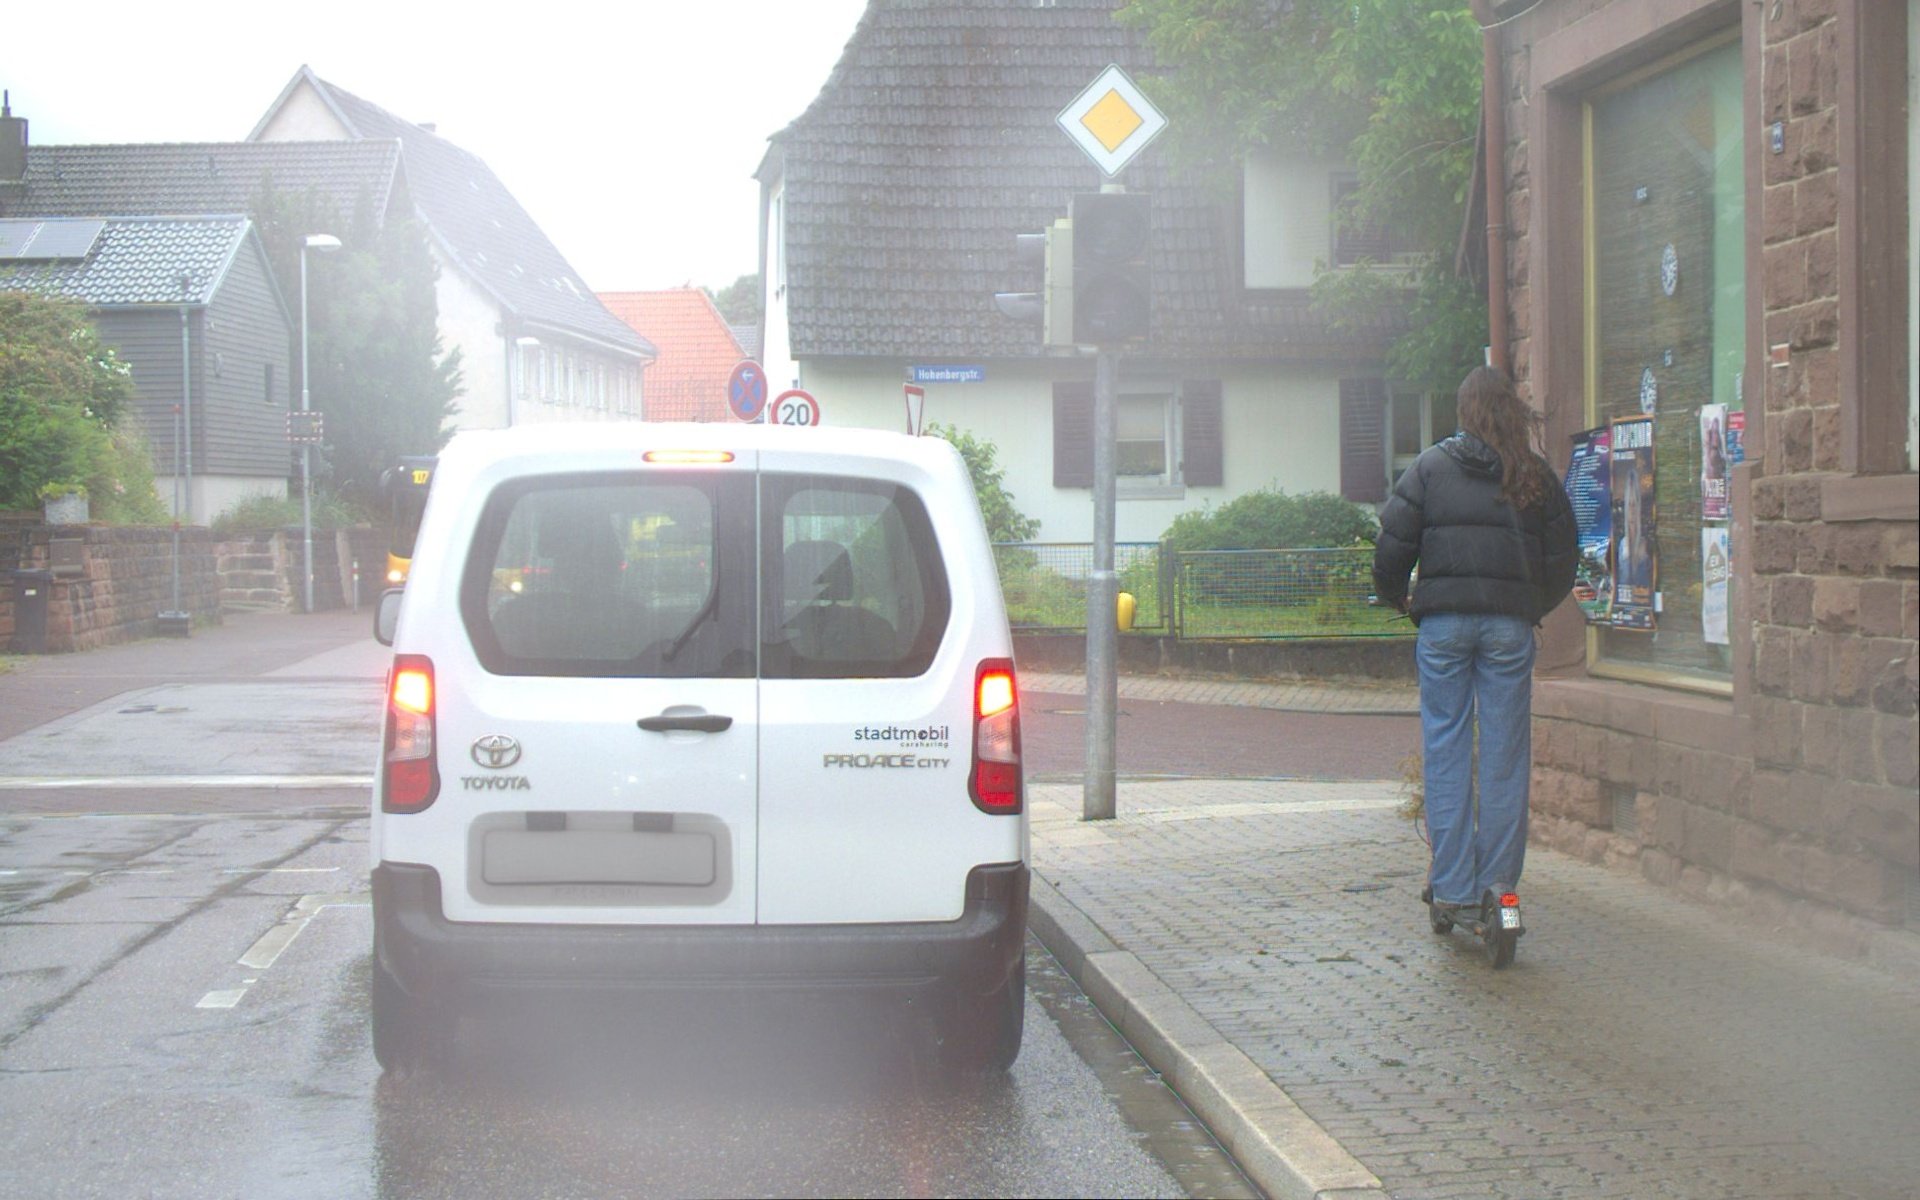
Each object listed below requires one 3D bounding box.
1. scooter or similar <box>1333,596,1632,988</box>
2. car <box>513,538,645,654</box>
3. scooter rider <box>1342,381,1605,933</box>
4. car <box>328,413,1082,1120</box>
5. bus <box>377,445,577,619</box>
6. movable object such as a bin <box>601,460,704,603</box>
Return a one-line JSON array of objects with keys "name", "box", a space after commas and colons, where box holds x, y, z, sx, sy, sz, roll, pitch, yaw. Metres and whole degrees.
[{"name": "scooter or similar", "box": [1.633, 0.571, 10.949, 0.620, 1.123, 1.402, 0, 2, -5]}, {"name": "car", "box": [-5.593, -0.095, 50.817, 1.809, 1.591, 3.756, 1, 1, -5]}, {"name": "scooter rider", "box": [1.641, 0.176, 11.042, 0.731, 1.727, 0.518, 0, 0, -5]}, {"name": "car", "box": [-0.813, 0.391, 10.720, 1.894, 1.787, 3.814, 1, 1, -5]}, {"name": "bus", "box": [-9.163, -1.470, 66.467, 2.649, 2.989, 12.195, 1, 3, -2]}, {"name": "movable object such as a bin", "box": [-5.918, -1.328, 66.464, 1.727, 2.644, 3.975, 1, 1, -2]}]
